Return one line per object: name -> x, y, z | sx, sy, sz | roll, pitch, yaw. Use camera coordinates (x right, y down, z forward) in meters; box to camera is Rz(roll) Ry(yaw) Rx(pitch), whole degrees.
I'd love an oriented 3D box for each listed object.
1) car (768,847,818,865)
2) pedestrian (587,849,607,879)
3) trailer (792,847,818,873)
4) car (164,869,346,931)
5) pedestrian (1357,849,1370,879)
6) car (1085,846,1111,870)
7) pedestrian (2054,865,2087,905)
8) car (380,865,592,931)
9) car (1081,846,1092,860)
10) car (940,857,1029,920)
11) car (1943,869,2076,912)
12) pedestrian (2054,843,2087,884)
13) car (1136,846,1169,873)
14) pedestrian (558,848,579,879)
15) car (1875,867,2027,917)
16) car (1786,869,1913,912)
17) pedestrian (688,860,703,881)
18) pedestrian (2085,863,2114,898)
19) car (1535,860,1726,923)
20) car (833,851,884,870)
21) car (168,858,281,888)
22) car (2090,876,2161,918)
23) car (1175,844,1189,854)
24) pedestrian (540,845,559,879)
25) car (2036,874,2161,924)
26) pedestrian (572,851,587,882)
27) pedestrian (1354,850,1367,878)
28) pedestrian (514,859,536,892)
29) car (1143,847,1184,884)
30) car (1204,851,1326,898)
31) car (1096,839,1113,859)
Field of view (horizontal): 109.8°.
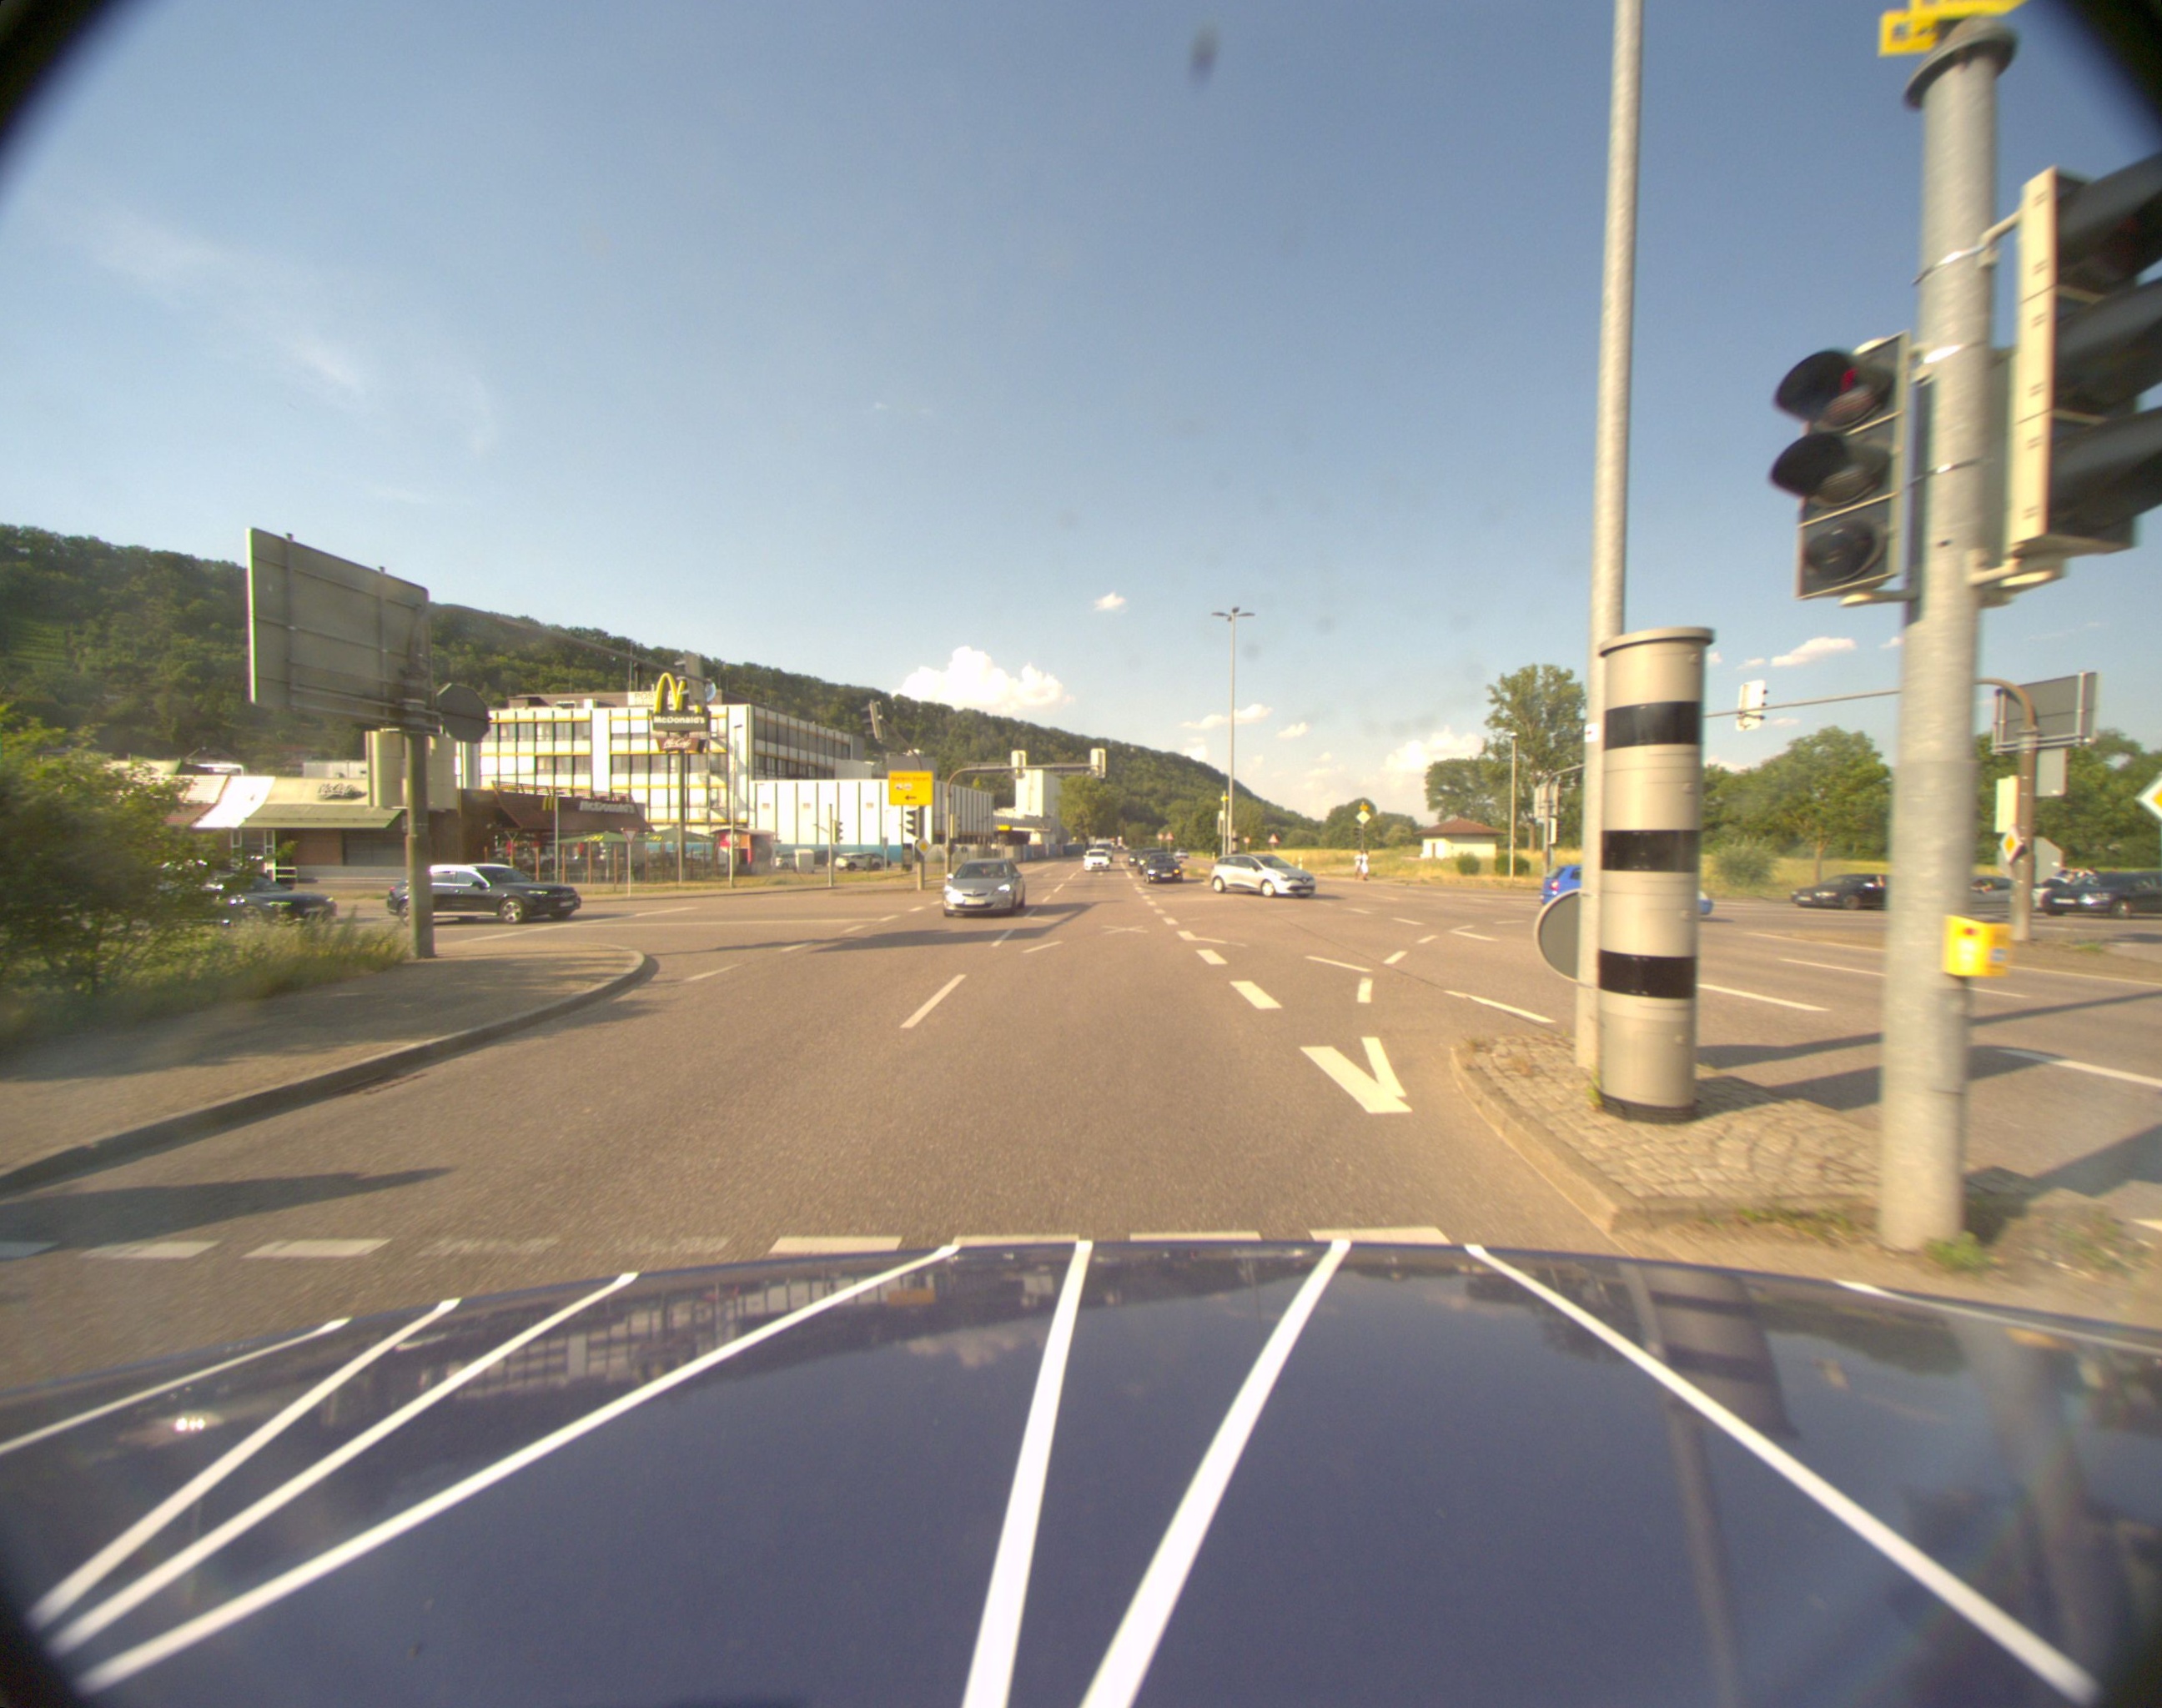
car -> -25.675, 0.147, 67.862 | 1.693, 1.447, 3.782 | -1, 2, 34
pedestrian -> -32.568, 0.682, 51.176 | 0.735, 2.002, 0.763 | -2, 2, 6
trailer -> -21.543, 0.443, 59.235 | 1.351, 1.936, 3.472 | 1, 0, -30
car -> -23.910, 1.328, 22.036 | 3.993, 1.587, 1.695 | -2, 2, 12
pedestrian -> 15.891, 0.553, 42.743 | 0.655, 1.597, 0.891 | -1, 2, 23
car -> 1.322, 0.267, 56.459 | 1.825, 1.552, 4.000 | -2, 1, 2
pedestrian -> 50.108, 1.557, 38.489 | 0.694, 2.002, 0.724 | -2, 2, 7
car -> -16.640, 1.198, 21.385 | 4.465, 1.576, 2.000 | -2, 2, 5
car -> 0.908, -0.216, 126.295 | 1.795, 2.155, 4.588 | 0, 1, -1
car -> -2.450, 0.842, 20.190 | 1.690, 1.383, 3.883 | 0, 1, 2
car -> 36.400, 1.388, 29.820 | 3.881, 1.412, 1.766 | -2, 2, -13
pedestrian -> 49.888, 0.456, 38.312 | 0.695, 2.002, 0.723 | -2, 2, -5
car -> 4.532, 0.328, 48.528 | 1.858, 1.565, 4.144 | -2, 1, 2
pedestrian -> -34.413, 0.641, 51.032 | 0.735, 2.002, 0.763 | -2, 2, 6
car -> 29.444, 1.251, 25.751 | 3.881, 1.412, 1.766 | -2, 2, -13
car -> 29.443, 1.363, 29.143 | 3.881, 1.352, 1.634 | -2, 2, -13
pedestrian -> -25.649, 1.110, 50.539 | 0.673, 1.329, 0.597 | -2, 2, -2
pedestrian -> 51.748, 1.333, 38.595 | 0.696, 1.748, 0.722 | -3, 2, -22
car -> 14.755, 0.954, 20.669 | 3.883, 1.491, 1.695 | 1, 1, 22
car -> -19.731, 0.525, 67.448 | 1.872, 1.496, 3.914 | -1, 2, 37
car -> -45.634, 0.985, 40.530 | 3.996, 1.449, 1.861 | 0, 2, 3
car -> 43.296, 1.669, 30.381 | 3.878, 1.412, 1.767 | -2, 2, -5
car -> 15.811, -0.751, 118.699 | 1.712, 1.426, 4.144 | 1, 1, 2
pedestrian -> -32.252, 0.477, 46.123 | 0.737, 2.002, 0.761 | -3, 2, -29
car -> 35.645, 1.510, 26.258 | 3.881, 1.412, 1.766 | -2, 2, -13
pedestrian -> -33.470, 0.827, 50.712 | 0.737, 2.002, 0.761 | -3, 2, -29
pedestrian -> 16.051, 0.576, 43.672 | 0.655, 1.597, 0.838 | -1, 2, 23
pedestrian -> -33.984, 1.304, 46.421 | 0.764, 2.002, 0.735 | -2, 2, -15
car -> 3.898, 0.525, 36.426 | 1.617, 1.565, 4.000 | -2, 1, 2
car -> 6.281, 0.650, 26.380 | 1.765, 1.468, 4.179 | -2, 1, -29
car -> 2.597, -0.599, 85.278 | 1.795, 2.155, 4.588 | 0, 1, -1
